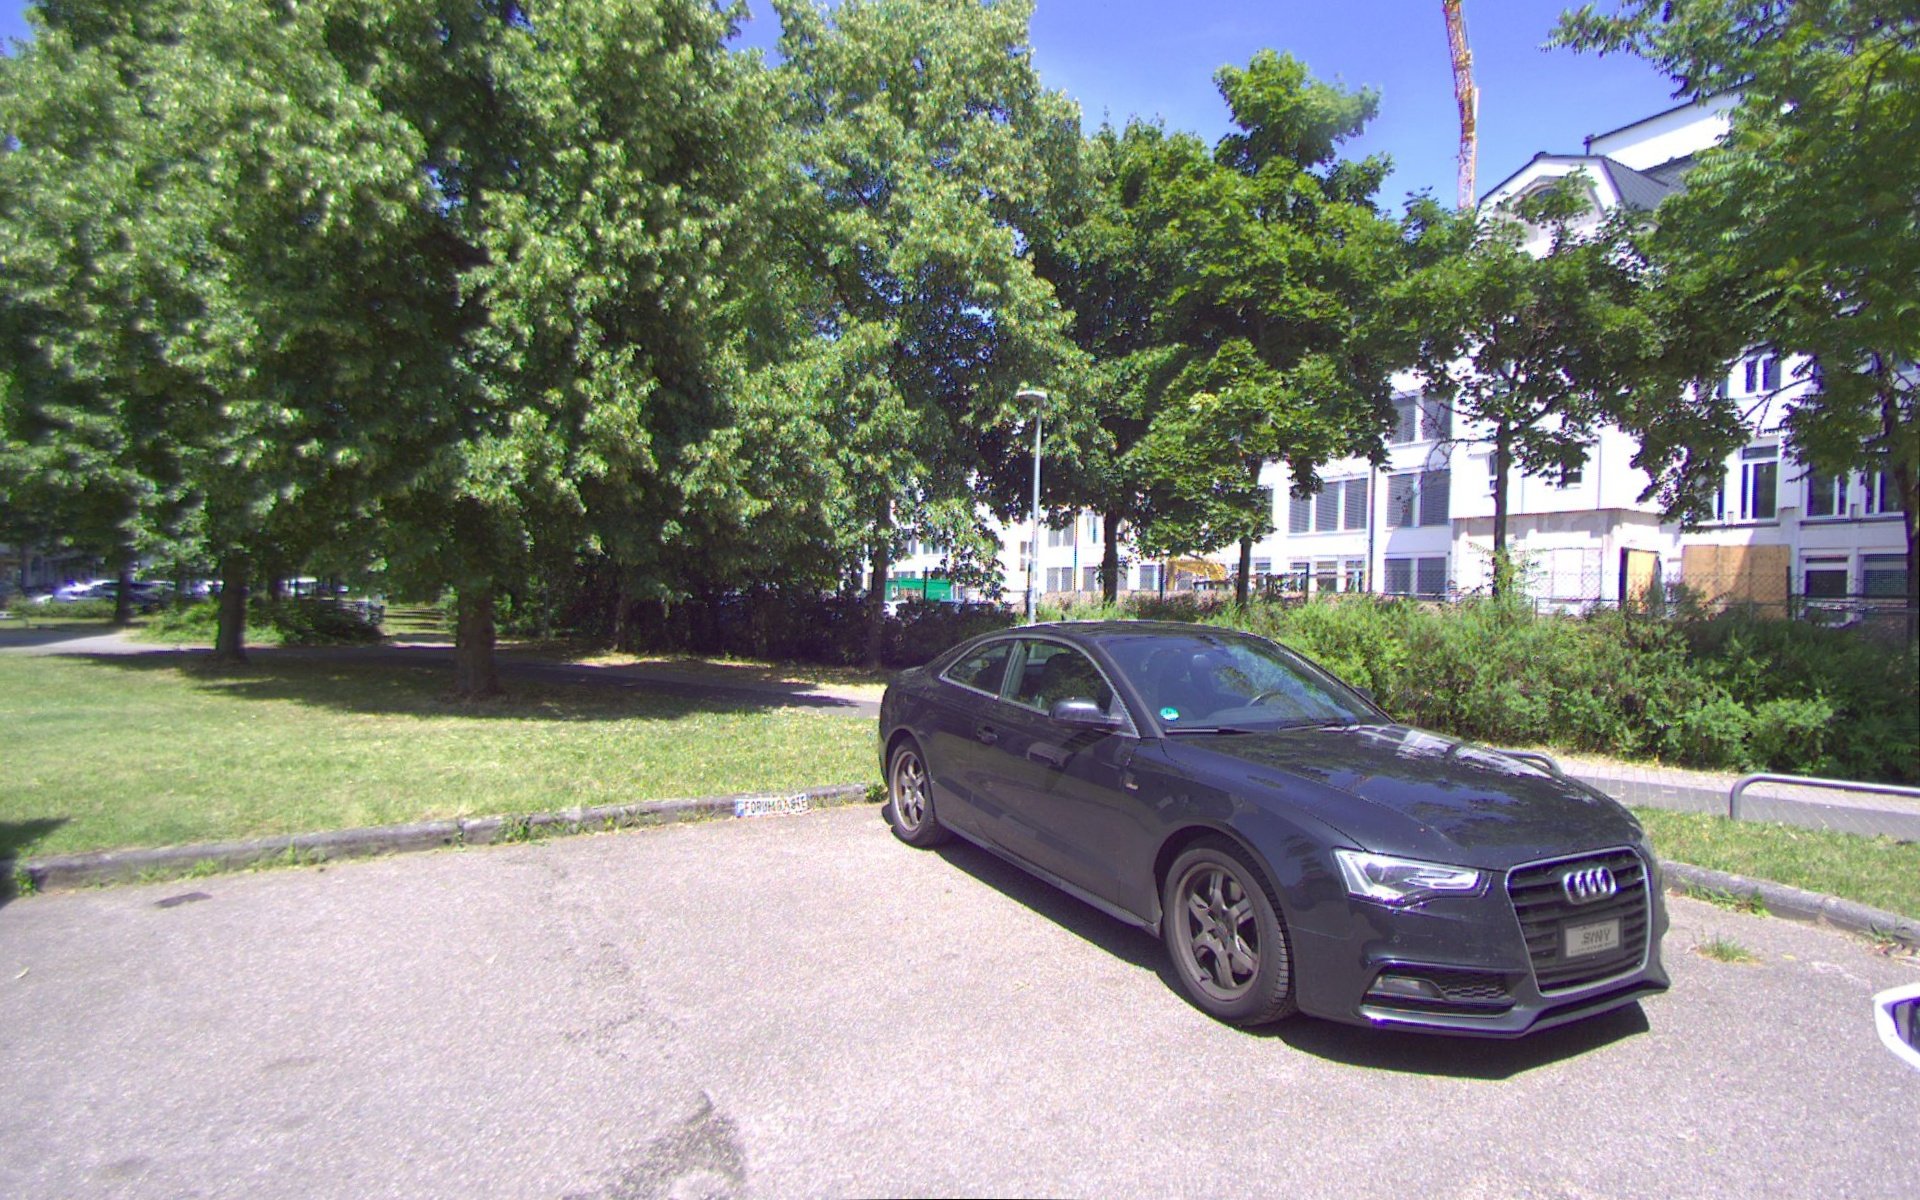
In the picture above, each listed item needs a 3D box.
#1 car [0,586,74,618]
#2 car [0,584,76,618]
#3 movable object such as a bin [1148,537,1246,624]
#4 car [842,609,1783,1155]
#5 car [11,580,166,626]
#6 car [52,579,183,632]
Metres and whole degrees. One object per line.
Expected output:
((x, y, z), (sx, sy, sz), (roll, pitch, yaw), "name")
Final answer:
((-48.707, 0.070, 52.013), (3.956, 1.550, 1.731), (3, -1, -32), "car")
((-50.449, 0.042, 54.213), (3.852, 1.652, 1.521), (3, -1, -32), "car")
((12.841, -1.028, 54.935), (1.974, 4.430, 5.686), (2, 0, -26), "movable object such as a bin")
((1.103, 0.788, 5.150), (1.998, 1.398, 4.412), (0, 0, -27), "car")
((-34.188, 0.134, 39.563), (4.294, 1.631, 1.917), (3, -1, -32), "car")
((-35.880, 0.251, 42.919), (3.956, 2.040, 1.982), (3, -1, -32), "car")
